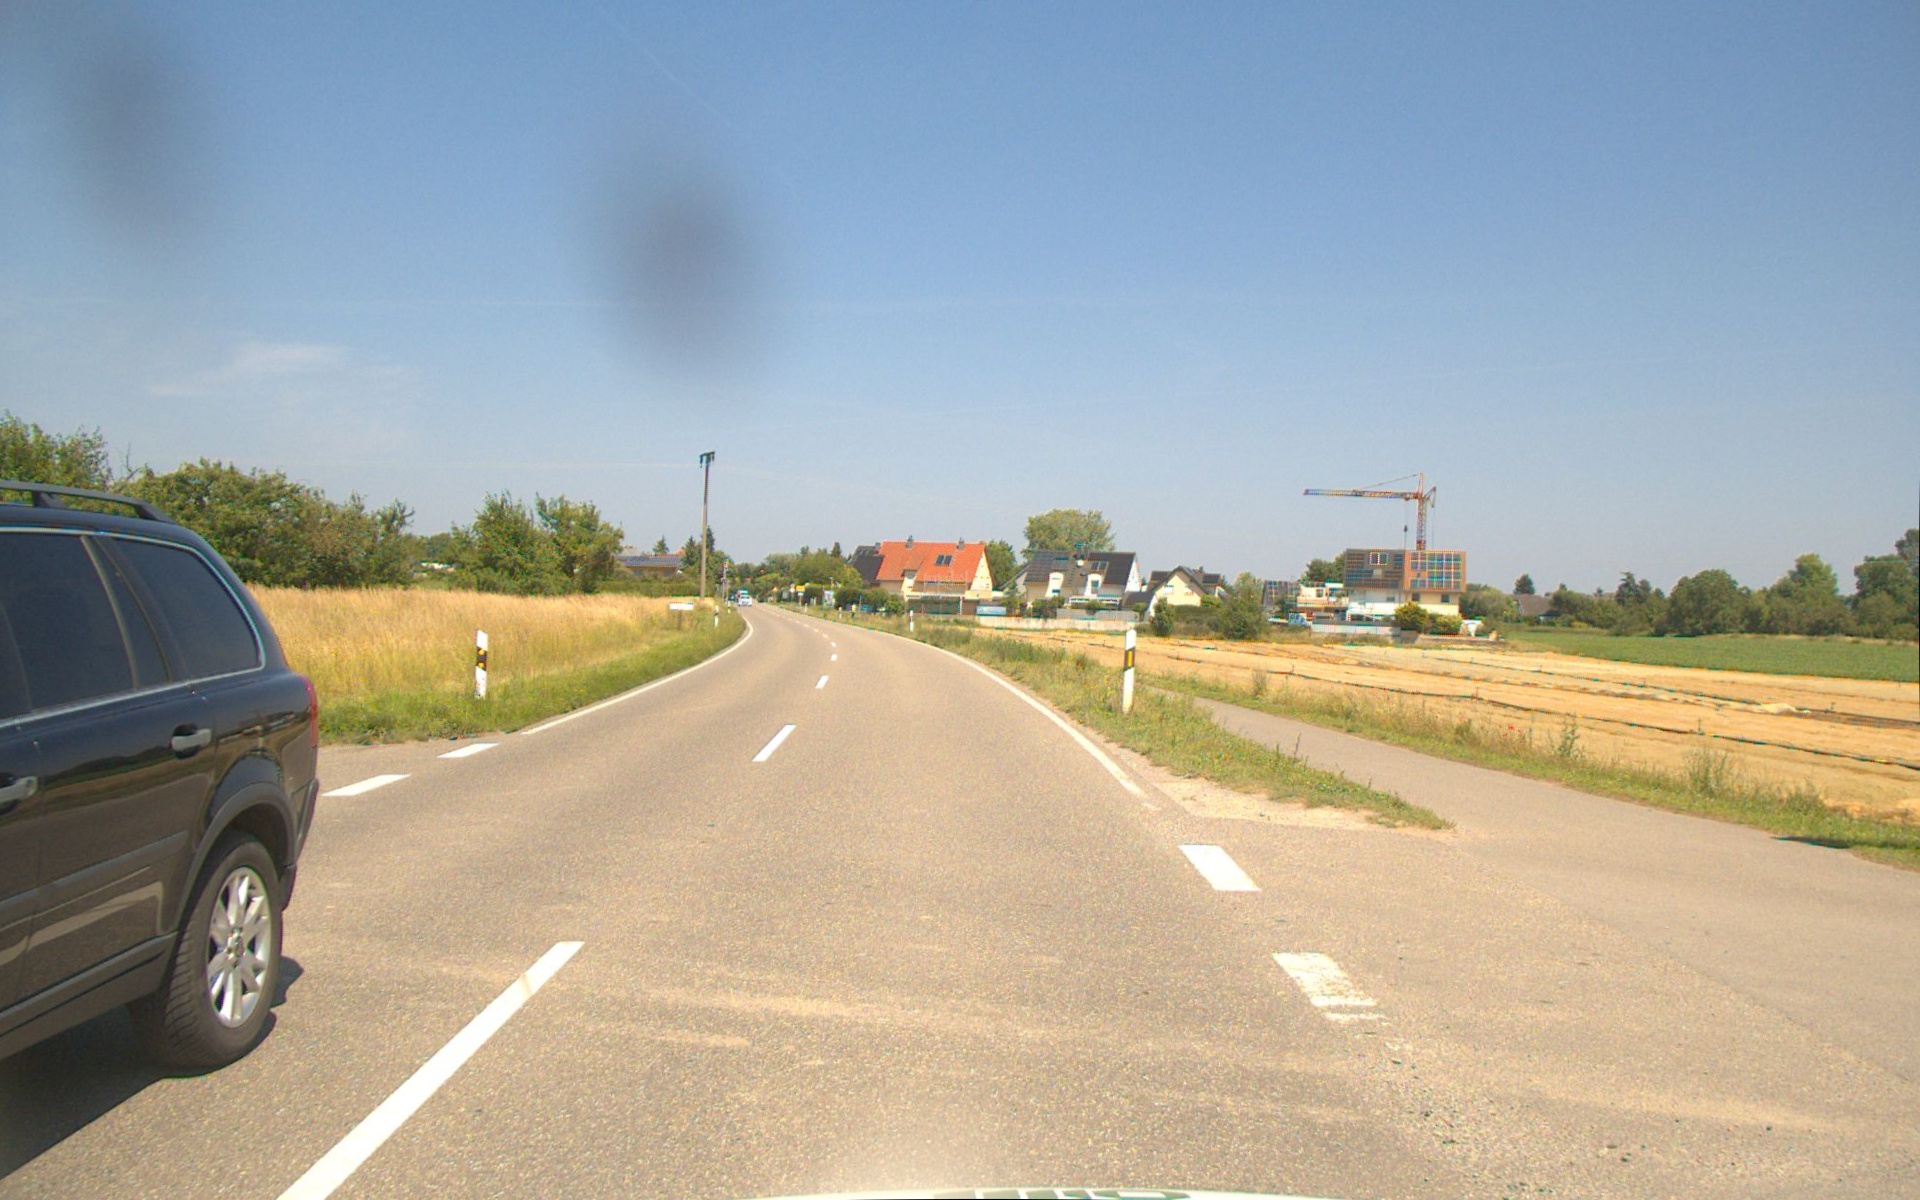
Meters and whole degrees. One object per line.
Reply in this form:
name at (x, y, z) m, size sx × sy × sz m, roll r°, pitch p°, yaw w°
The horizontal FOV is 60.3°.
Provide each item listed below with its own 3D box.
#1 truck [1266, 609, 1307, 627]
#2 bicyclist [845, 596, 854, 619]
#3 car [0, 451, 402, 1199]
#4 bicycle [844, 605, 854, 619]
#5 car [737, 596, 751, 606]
truck at (45.784, 2.522, 231.960) m, size 5.436 × 2.269 × 2.216 m, roll 1°, pitch 0°, yaw 16°
bicyclist at (-9.791, 0.657, 146.329) m, size 0.633 × 1.922 × 0.859 m, roll 3°, pitch 0°, yaw -9°
car at (-3.109, 0.554, 3.986) m, size 1.894 × 1.782 × 5.202 m, roll 0°, pitch 0°, yaw -2°
bicycle at (-9.832, 1.047, 146.404) m, size 0.599 × 1.179 × 2.270 m, roll 3°, pitch 1°, yaw -9°
car at (-29.504, 0.141, 225.589) m, size 1.758 × 1.434 × 4.177 m, roll 1°, pitch 0°, yaw -8°
